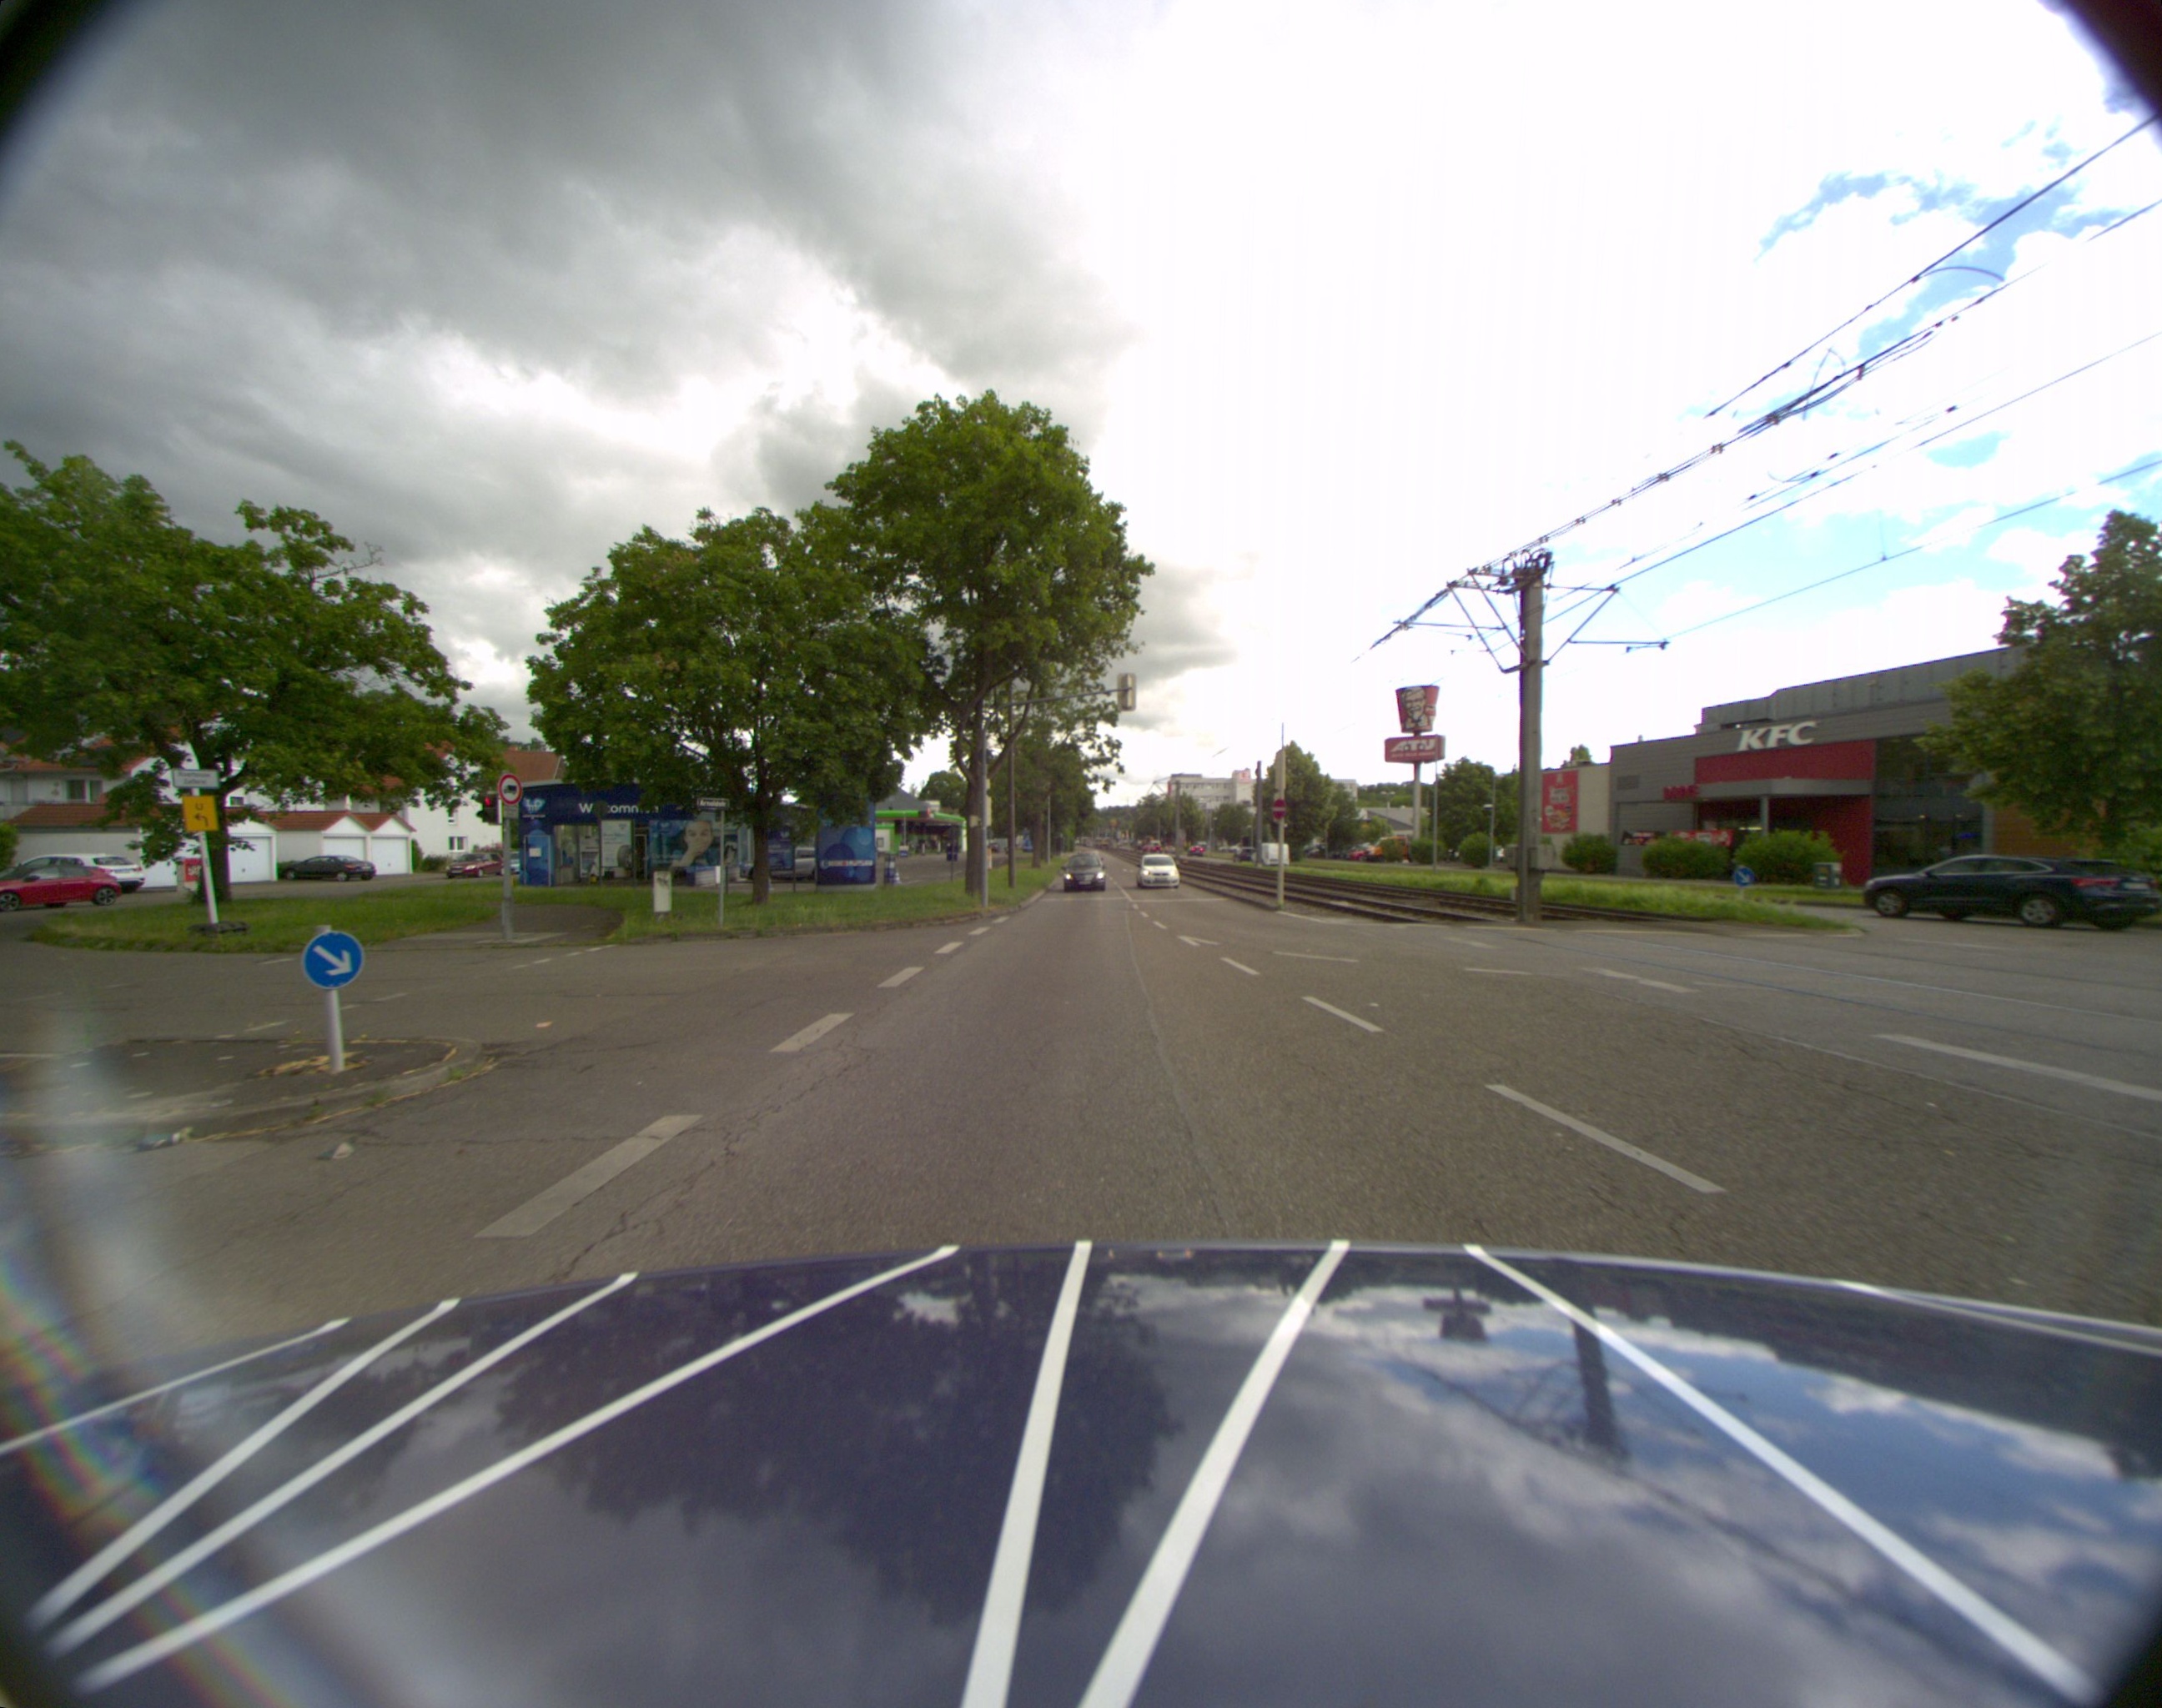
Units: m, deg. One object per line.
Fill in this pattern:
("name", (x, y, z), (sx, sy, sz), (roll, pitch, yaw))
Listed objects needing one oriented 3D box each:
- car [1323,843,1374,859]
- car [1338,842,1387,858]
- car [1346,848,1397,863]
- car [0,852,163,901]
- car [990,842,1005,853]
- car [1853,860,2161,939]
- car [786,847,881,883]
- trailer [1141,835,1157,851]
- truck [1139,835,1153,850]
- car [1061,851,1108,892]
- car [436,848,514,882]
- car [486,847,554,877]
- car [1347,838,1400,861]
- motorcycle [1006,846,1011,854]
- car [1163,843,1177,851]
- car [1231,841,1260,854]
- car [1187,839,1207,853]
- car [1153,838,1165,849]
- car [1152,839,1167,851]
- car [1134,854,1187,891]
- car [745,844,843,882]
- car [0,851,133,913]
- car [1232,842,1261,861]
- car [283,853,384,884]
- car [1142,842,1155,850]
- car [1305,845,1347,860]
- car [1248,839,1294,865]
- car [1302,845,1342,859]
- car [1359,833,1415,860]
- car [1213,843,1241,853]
("car", (27.093, -0.323, 77.058), (4.385, 1.346, 2.195), (-3, 1, -1))
("car", (27.527, -0.385, 74.357), (3.997, 1.359, 2.093), (-3, 1, -1))
("car", (27.398, 0.136, 71.669), (3.997, 1.229, 1.999), (-3, 1, -1))
("car", (-39.627, 0.877, 30.108), (3.812, 1.685, 1.918), (-3, 1, -6))
("car", (-13.615, -1.114, 124.032), (1.998, 1.629, 4.325), (2, 1, 1))
("car", (20.595, 0.909, 16.930), (1.999, 1.473, 4.505), (2, 0, -4))
("car", (-12.885, 0.524, 39.753), (4.393, 1.811, 1.746), (0, 1, -43))
("trailer", (17.529, -2.835, 196.185), (2.678, 3.875, 14.422), (2, 1, 0))
("truck", (17.624, -3.099, 207.088), (2.899, 3.944, 8.629), (0, 1, 0))
("car", (0.210, 0.738, 33.564), (1.786, 1.614, 4.000), (-2, 1, 3))
("car", (-36.549, 0.611, 45.977), (1.948, 1.832, 4.247), (-3, 1, -13))
("car", (-37.846, 0.501, 51.399), (1.948, 1.832, 4.461), (-3, 1, -13))
("car", (26.531, -0.452, 69.097), (3.997, 1.907, 1.999), (-3, 1, -1))
("motorcycle", (-11.272, -0.635, 118.460), (0.704, 1.180, 2.386), (0, 1, -6))
("car", (16.885, -1.372, 144.729), (1.999, 1.474, 3.999), (2, 1, -1))
("car", (27.083, -1.062, 124.969), (4.355, 1.908, 2.000), (-2, 1, 3))
("car", (17.130, -1.216, 112.345), (1.999, 2.002, 4.245), (0, 1, -4))
("car", (17.777, -2.386, 173.022), (1.874, 2.485, 5.998), (1, 1, -1))
("car", (14.518, -1.662, 140.973), (1.999, 2.002, 3.998), (2, 1, -4))
("car", (3.522, 0.785, 34.183), (1.786, 1.436, 3.998), (-3, 1, -2))
("car", (-13.439, 0.419, 35.793), (4.216, 1.687, 1.837), (0, 0, -20))
("car", (-33.471, 0.890, 24.190), (1.620, 1.832, 3.921), (-3, 1, -3))
("car", (17.619, -0.276, 81.132), (1.999, 2.002, 4.104), (0, 1, -4))
("car", (-40.345, 0.763, 41.075), (3.557, 1.449, 1.775), (-3, 1, -1))
("car", (13.808, -1.644, 155.130), (1.788, 1.573, 4.479), (1, 1, -4))
("car", (27.122, -0.153, 84.339), (3.997, 1.413, 1.937), (-3, 1, -1))
("car", (15.183, -0.174, 61.081), (2.000, 2.002, 4.882), (0, 1, -6))
("car", (28.261, -0.241, 89.080), (3.997, 1.498, 1.937), (-3, 1, -1))
("car", (26.733, -0.640, 66.513), (3.997, 2.153, 2.058), (-3, 1, -1))
("car", (25.859, -1.039, 134.516), (4.611, 1.484, 2.000), (-2, 1, 3))
